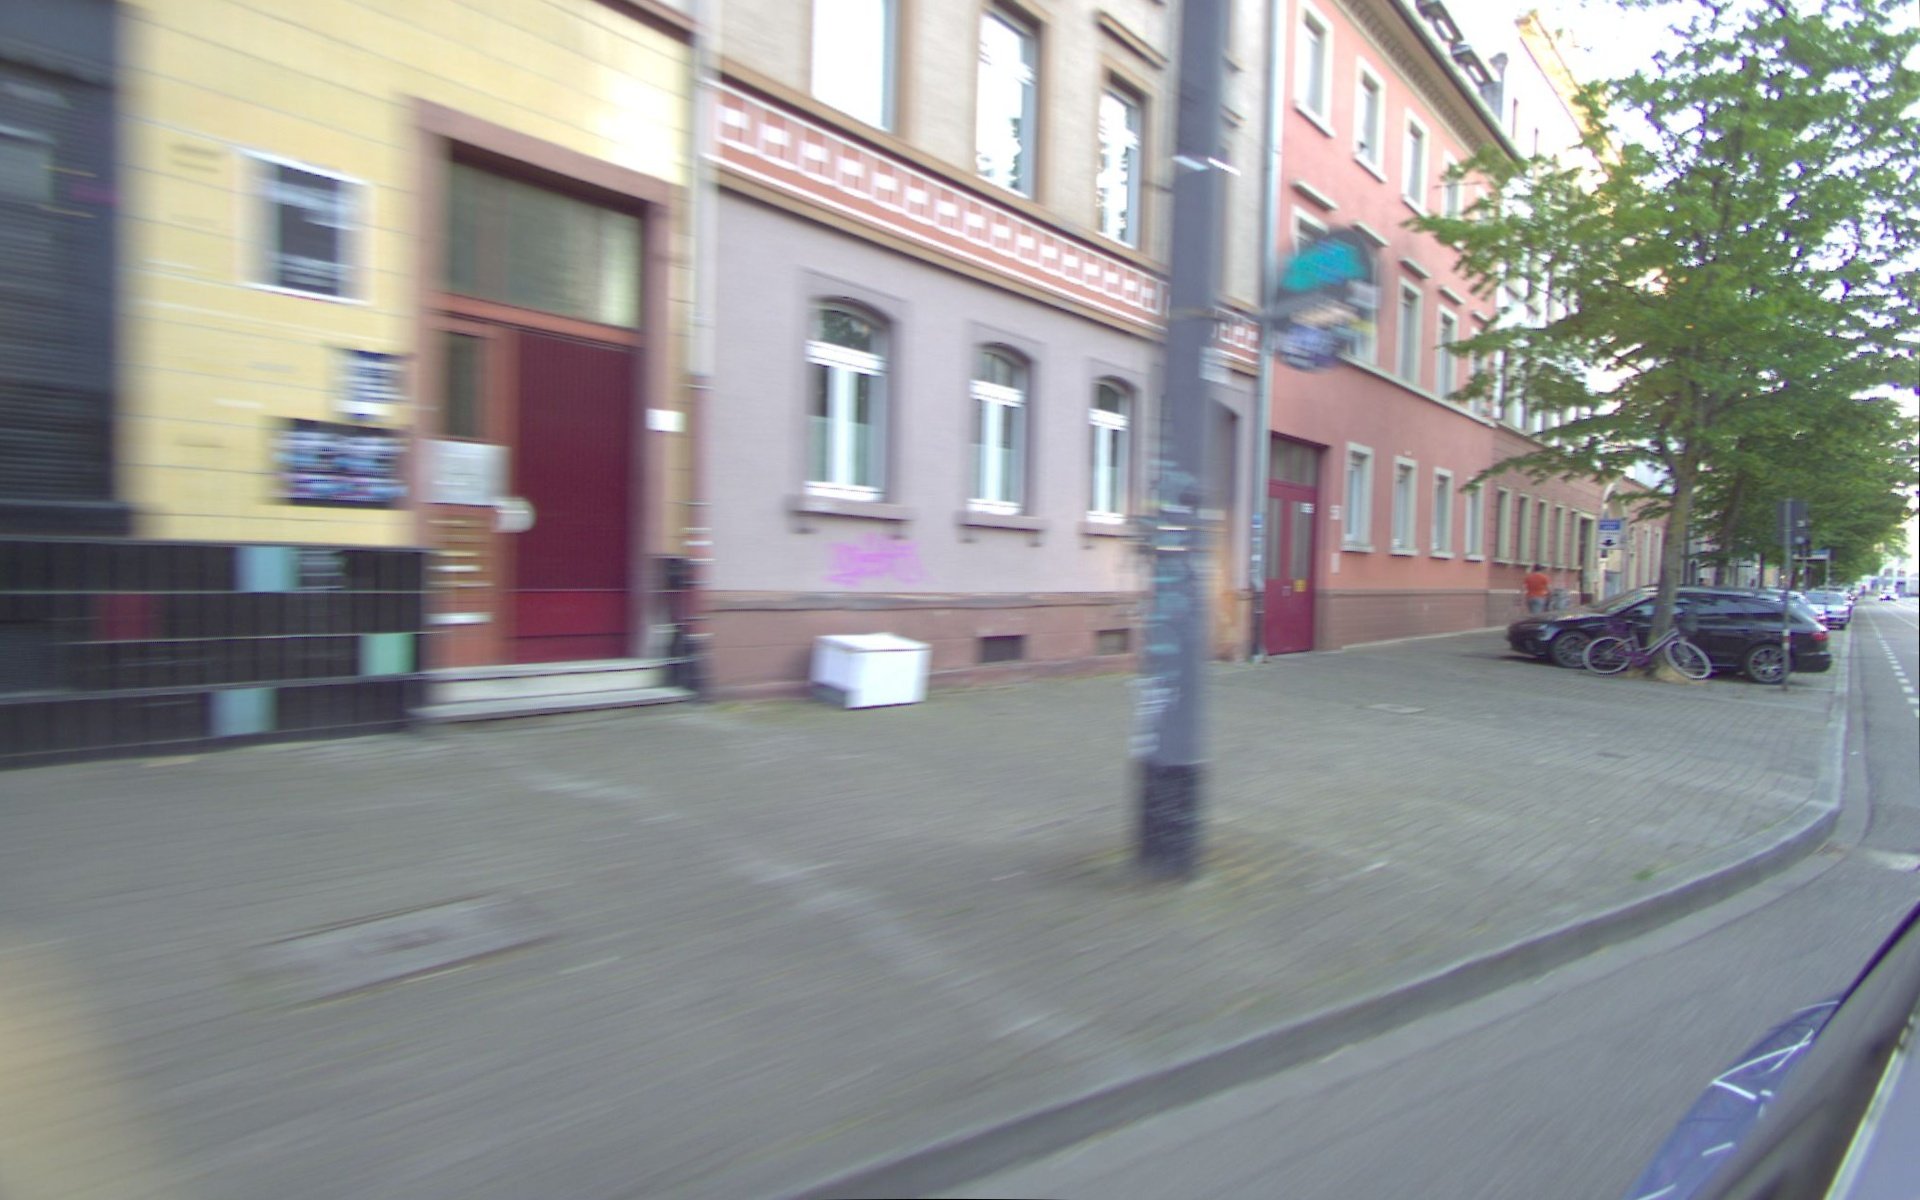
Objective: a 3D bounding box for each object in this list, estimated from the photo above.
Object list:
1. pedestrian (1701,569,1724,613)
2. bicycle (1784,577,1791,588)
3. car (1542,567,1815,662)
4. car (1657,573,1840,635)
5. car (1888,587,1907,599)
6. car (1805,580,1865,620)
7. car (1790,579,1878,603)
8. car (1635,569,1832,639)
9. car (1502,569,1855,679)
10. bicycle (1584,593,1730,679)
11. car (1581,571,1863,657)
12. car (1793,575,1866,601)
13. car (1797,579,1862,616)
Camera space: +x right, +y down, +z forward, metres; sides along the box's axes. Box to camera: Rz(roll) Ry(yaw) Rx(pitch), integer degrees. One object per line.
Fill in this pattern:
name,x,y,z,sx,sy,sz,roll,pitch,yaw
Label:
pedestrian,32.400,-0.401,43.568,0.680,1.838,0.591,3,2,43
bicycle,89.658,-1.912,109.680,0.469,1.225,1.756,2,2,42
car,14.077,0.220,20.125,3.948,1.509,1.821,3,4,19
car,21.562,0.073,27.839,3.520,1.446,1.660,3,3,18
car,138.703,-1.040,149.727,1.993,1.705,3.939,2,1,42
car,34.115,-0.027,39.450,1.619,1.397,3.719,6,4,42
car,62.058,-0.671,71.932,4.347,1.481,1.705,4,2,26
car,19.593,0.062,25.811,3.520,1.534,1.734,3,3,18
car,12.151,0.332,17.492,4.560,1.475,1.701,4,3,19
bicycle,10.724,0.517,15.602,1.690,1.115,0.914,6,4,42
car,16.391,0.228,22.107,4.404,1.534,2.050,3,3,20
car,69.634,-0.973,81.100,3.954,1.838,1.811,4,2,22
car,37.690,-0.134,43.840,1.782,1.397,4.616,6,5,44
